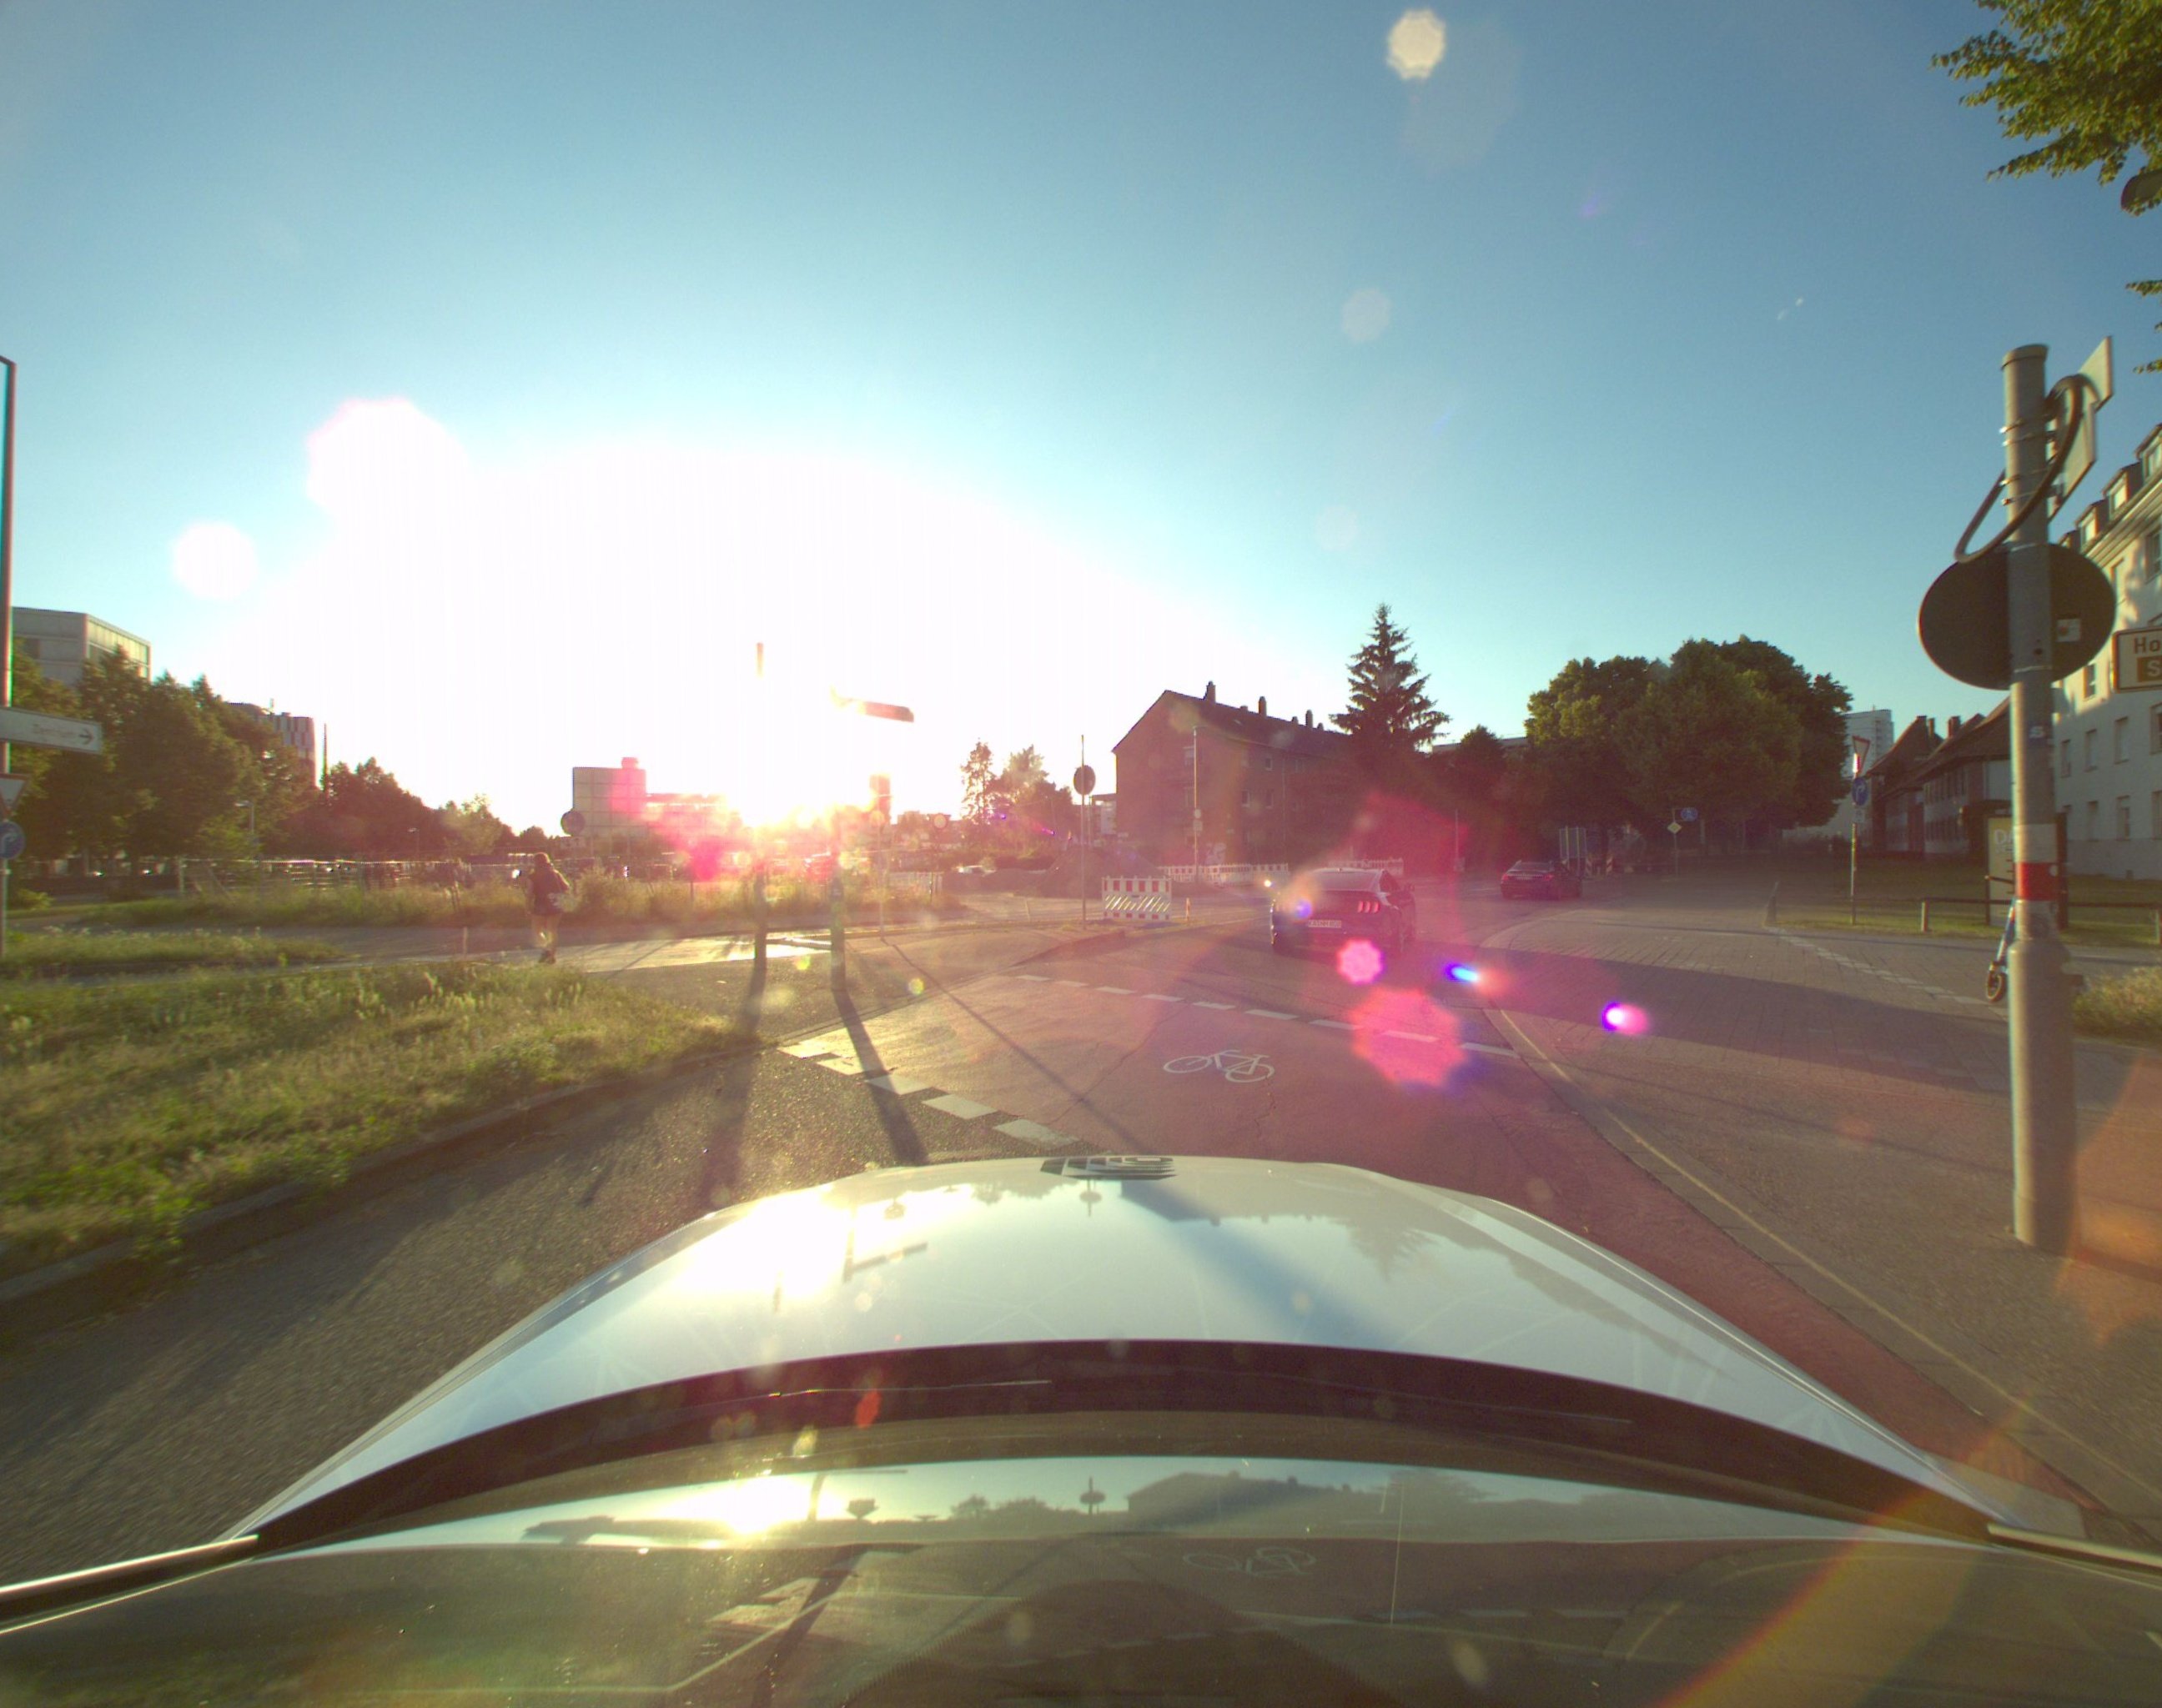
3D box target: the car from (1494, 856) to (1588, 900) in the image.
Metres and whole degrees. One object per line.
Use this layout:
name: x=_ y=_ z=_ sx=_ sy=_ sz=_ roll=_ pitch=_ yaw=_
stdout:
car: x=16.616 y=0.798 z=29.322 sx=1.933 sy=1.427 sz=4.456 roll=1 pitch=1 yaw=43

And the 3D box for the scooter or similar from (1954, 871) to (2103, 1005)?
scooter or similar: x=9.292 y=0.797 z=8.000 sx=1.120 sy=1.238 sz=0.441 roll=0 pitch=0 yaw=-10

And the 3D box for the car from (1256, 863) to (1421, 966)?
car: x=4.484 y=0.860 z=13.646 sx=1.933 sy=1.342 sz=4.698 roll=0 pitch=0 yaw=26

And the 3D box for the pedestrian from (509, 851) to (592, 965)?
pedestrian: x=-8.214 y=0.800 z=12.616 sx=0.875 sy=1.686 sz=0.851 roll=-1 pitch=0 yaw=40

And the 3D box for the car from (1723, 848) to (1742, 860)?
car: x=89.206 y=-0.061 z=111.556 sx=1.932 sy=1.602 sz=4.103 roll=0 pitch=0 yaw=40

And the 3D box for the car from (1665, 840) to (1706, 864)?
car: x=44.003 y=-0.184 z=59.202 sx=1.933 sy=1.571 sz=4.457 roll=0 pitch=2 yaw=43

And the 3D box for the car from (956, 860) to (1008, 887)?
car: x=-6.685 y=1.266 z=54.546 sx=2.006 sy=1.706 sz=3.960 roll=0 pitch=-1 yaw=-31
